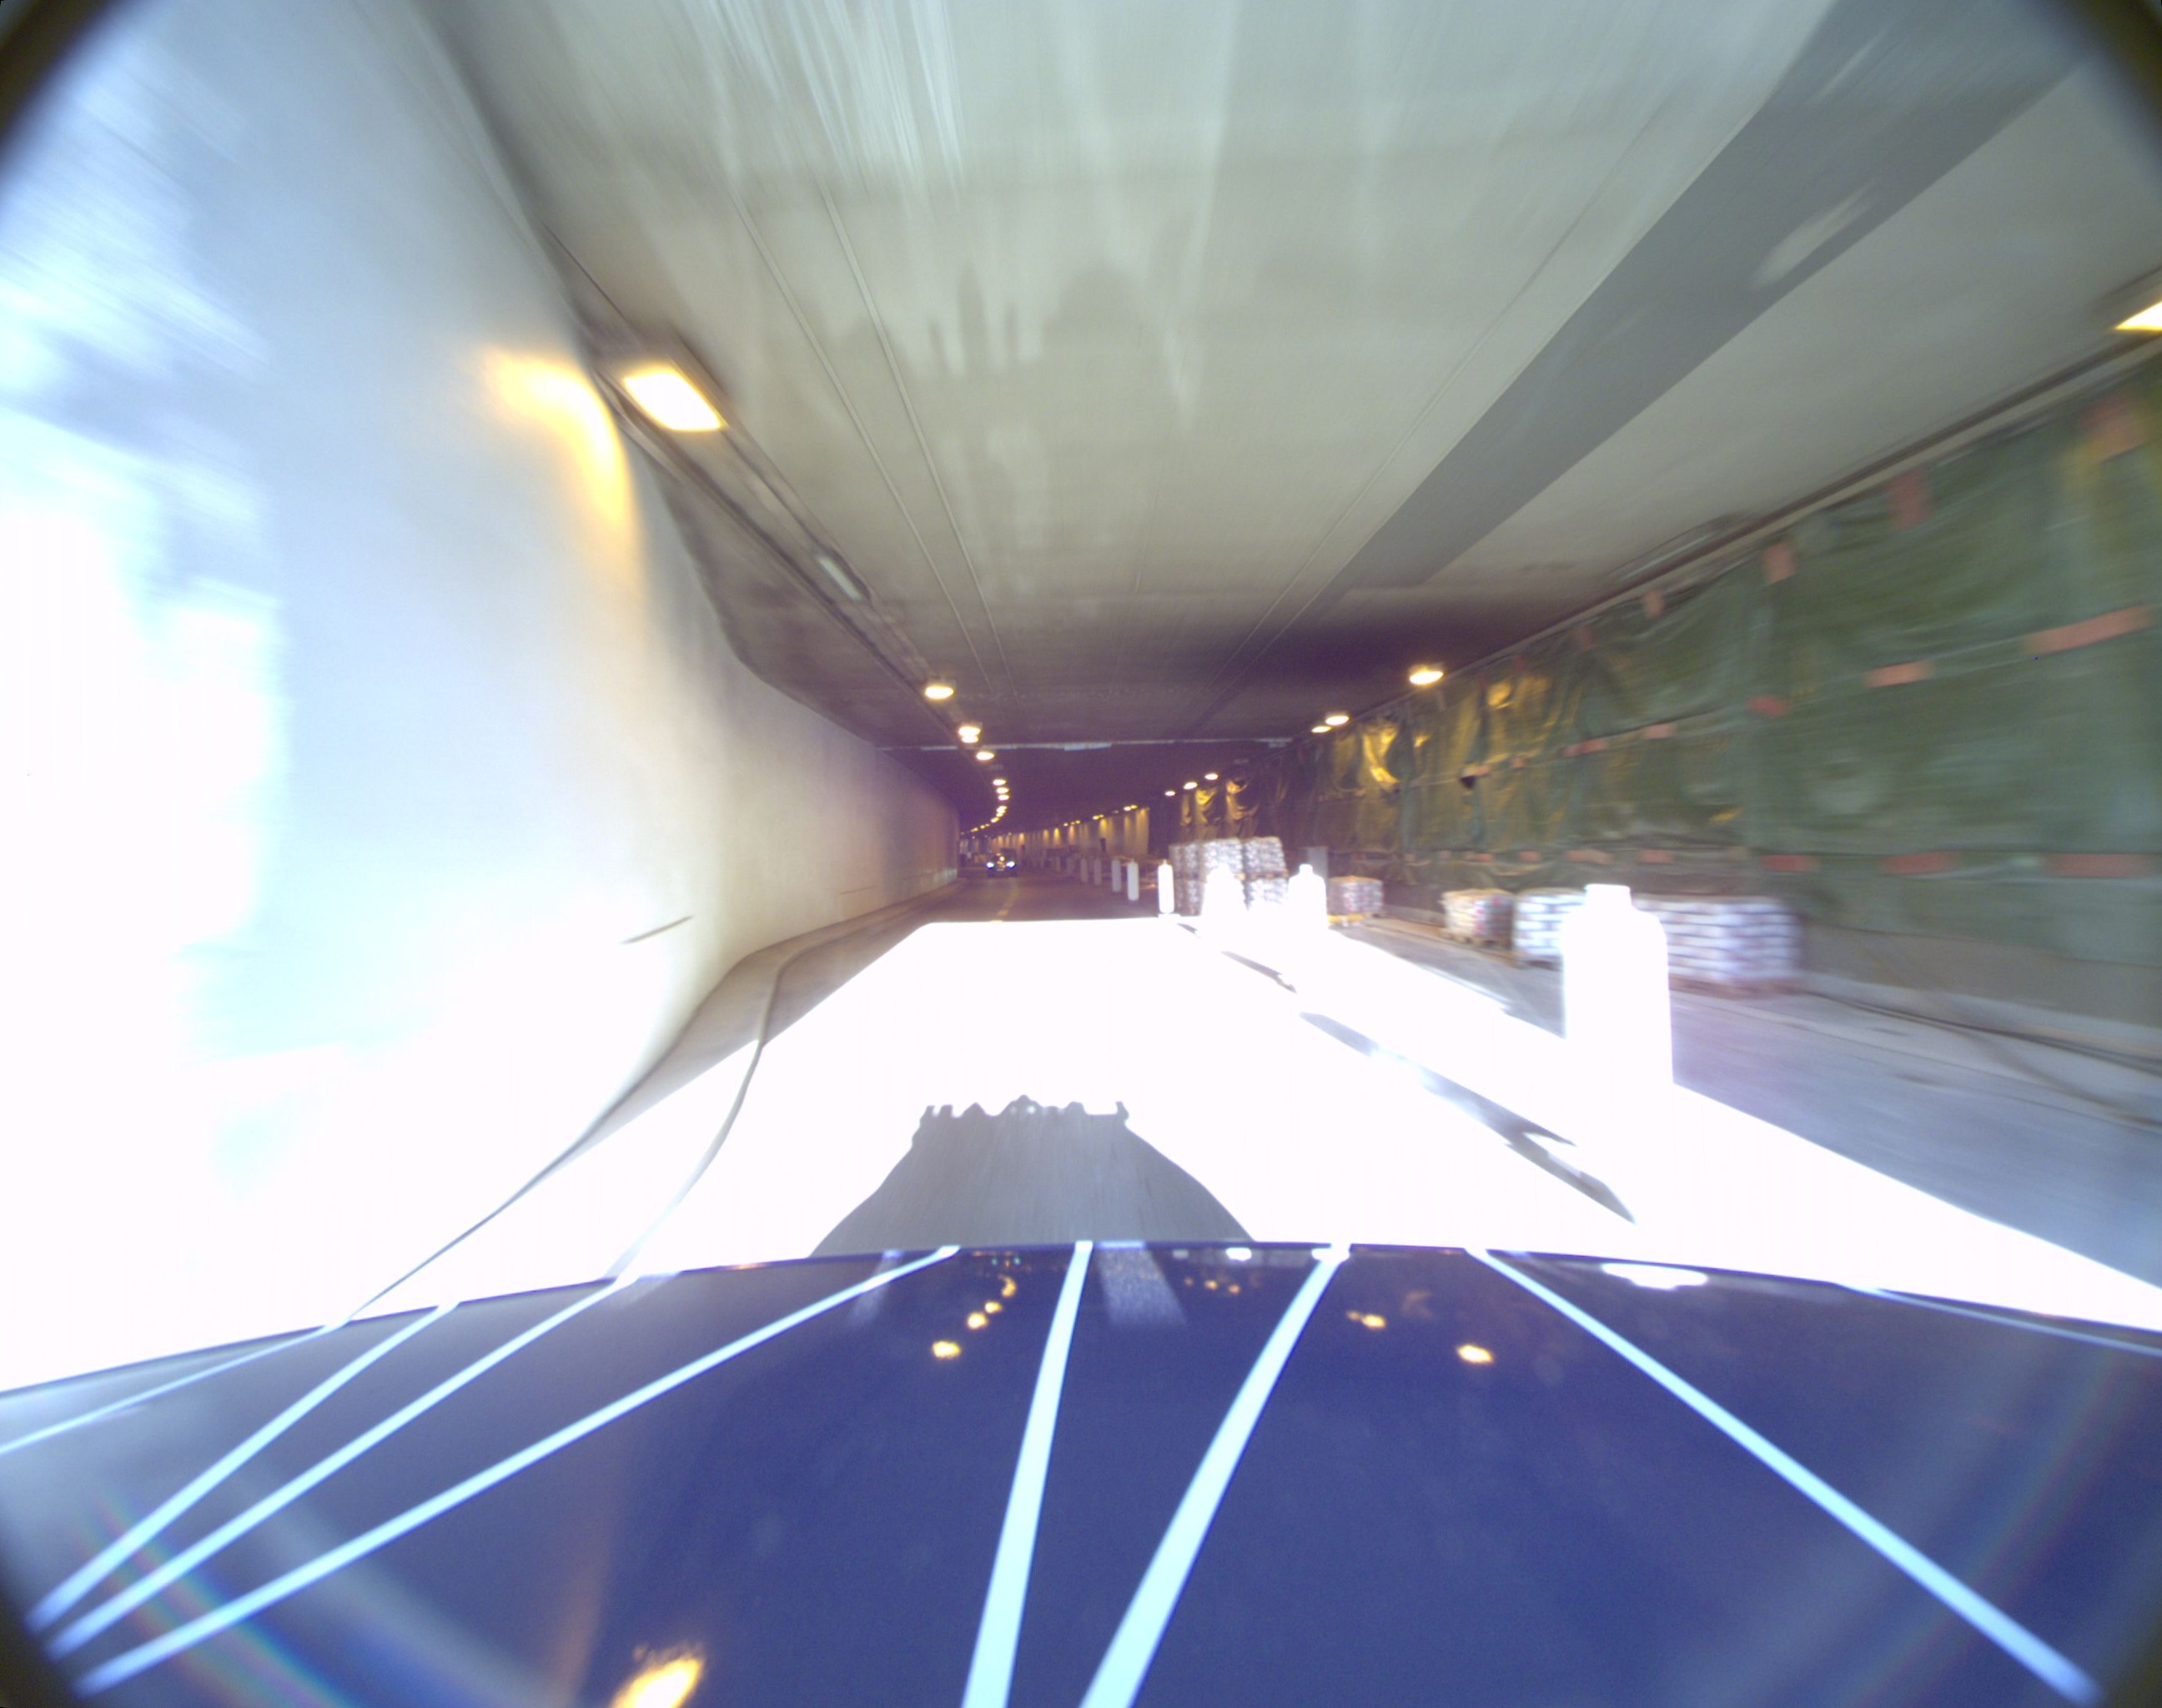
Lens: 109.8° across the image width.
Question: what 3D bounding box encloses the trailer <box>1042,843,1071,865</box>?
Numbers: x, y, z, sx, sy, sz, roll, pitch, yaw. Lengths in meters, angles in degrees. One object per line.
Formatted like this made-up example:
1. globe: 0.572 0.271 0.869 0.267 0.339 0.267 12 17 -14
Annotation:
1. trailer: -2.497 -0.031 76.219 2.216 2.002 3.461 -2 1 -14

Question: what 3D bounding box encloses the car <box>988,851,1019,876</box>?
1. car: -5.377 0.593 52.193 1.897 1.537 4.236 -2 1 -8

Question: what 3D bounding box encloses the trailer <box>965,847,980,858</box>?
1. trailer: -17.984 -0.314 125.666 1.646 1.781 3.116 -2 2 -22

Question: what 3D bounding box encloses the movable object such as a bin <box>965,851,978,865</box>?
1. movable object such as a bin: -11.315 0.426 78.233 1.149 1.437 1.362 -2 2 -13

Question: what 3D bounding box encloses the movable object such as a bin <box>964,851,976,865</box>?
1. movable object such as a bin: -11.668 0.406 79.570 1.101 1.437 1.320 -2 2 -13
